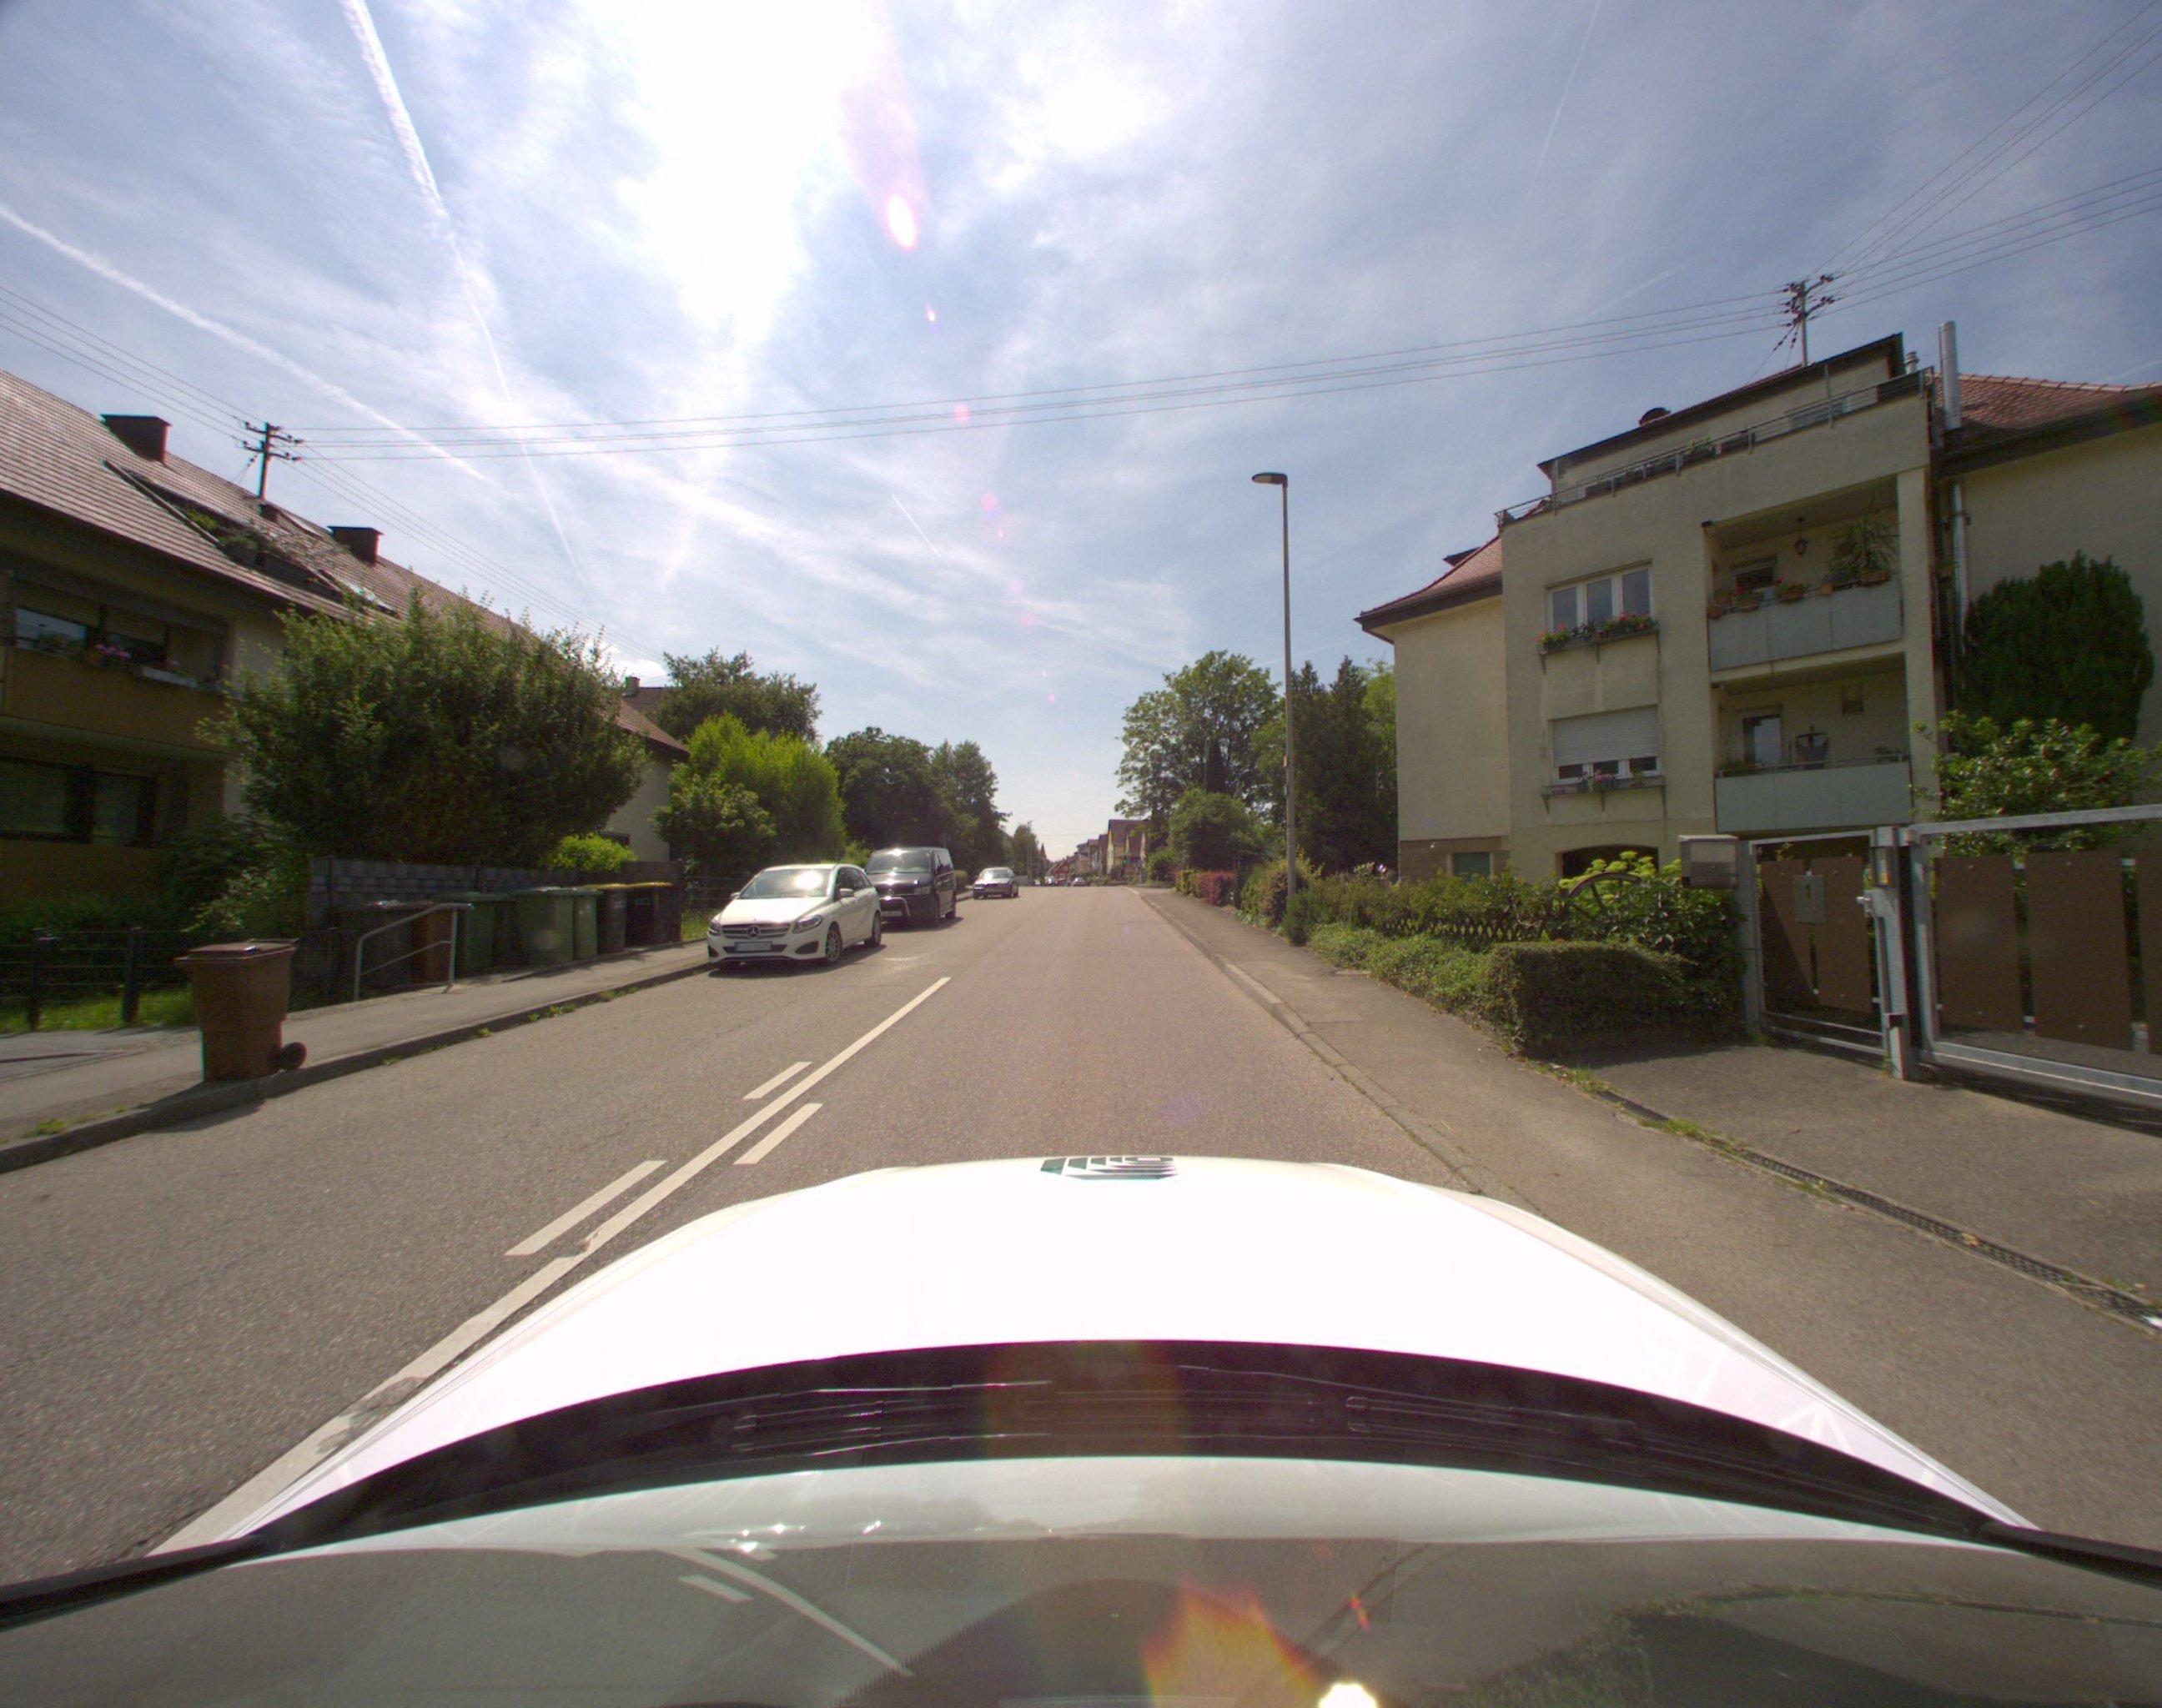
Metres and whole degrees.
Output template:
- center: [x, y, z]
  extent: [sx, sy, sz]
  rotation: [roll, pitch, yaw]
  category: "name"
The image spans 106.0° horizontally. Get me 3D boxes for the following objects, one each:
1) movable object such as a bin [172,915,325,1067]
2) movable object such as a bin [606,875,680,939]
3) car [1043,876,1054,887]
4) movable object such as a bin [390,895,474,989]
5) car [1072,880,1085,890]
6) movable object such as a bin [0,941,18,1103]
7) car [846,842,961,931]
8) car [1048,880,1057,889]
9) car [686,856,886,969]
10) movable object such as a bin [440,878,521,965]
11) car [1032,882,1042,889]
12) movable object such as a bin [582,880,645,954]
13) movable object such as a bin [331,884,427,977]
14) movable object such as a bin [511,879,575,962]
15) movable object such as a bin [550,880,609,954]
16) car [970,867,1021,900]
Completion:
- center: [-5.890, 0.949, 5.787]
  extent: [0.503, 0.988, 0.564]
  rotation: [-1, -1, 8]
  category: "movable object such as a bin"
- center: [-7.590, 0.906, 14.134]
  extent: [0.896, 1.070, 0.695]
  rotation: [-1, -1, 1]
  category: "movable object such as a bin"
- center: [-6.162, 5.221, 155.285]
  extent: [1.876, 1.965, 4.892]
  rotation: [-1, -2, -6]
  category: "car"
- center: [-8.586, 1.149, 10.788]
  extent: [0.544, 1.178, 0.675]
  rotation: [-1, -1, 6]
  category: "movable object such as a bin"
- center: [-0.421, 5.104, 134.354]
  extent: [1.987, 1.604, 3.999]
  rotation: [-1, -1, 0]
  category: "car"
- center: [-6.498, 0.965, 4.447]
  extent: [0.560, 0.918, 0.644]
  rotation: [-1, -1, 8]
  category: "movable object such as a bin"
- center: [-4.353, 0.758, 20.778]
  extent: [1.891, 1.920, 4.868]
  rotation: [-2, -1, -1]
  category: "car"
- center: [-5.077, 5.326, 144.176]
  extent: [1.531, 1.542, 4.298]
  rotation: [0, -2, -3]
  category: "car"
- center: [-4.637, 0.840, 13.533]
  extent: [1.805, 1.549, 4.241]
  rotation: [-1, -1, -1]
  category: "car"
- center: [-8.516, 0.941, 11.579]
  extent: [0.474, 1.178, 0.841]
  rotation: [-1, -1, 7]
  category: "movable object such as a bin"
- center: [-10.114, 7.212, 185.768]
  extent: [2.104, 1.561, 4.311]
  rotation: [-1, -3, -1]
  category: "car"
- center: [-7.302, 0.967, 12.729]
  extent: [0.494, 1.105, 0.711]
  rotation: [-3, -2, 8]
  category: "movable object such as a bin"
- center: [-8.662, 0.932, 10.067]
  extent: [0.599, 1.096, 0.651]
  rotation: [-1, -1, 8]
  category: "movable object such as a bin"
- center: [-7.475, 0.916, 11.325]
  extent: [0.515, 1.104, 0.529]
  rotation: [-3, -2, 0]
  category: "movable object such as a bin"
- center: [-7.358, 0.915, 11.957]
  extent: [0.453, 1.044, 0.561]
  rotation: [-3, -2, 8]
  category: "movable object such as a bin"
- center: [-3.894, 1.363, 37.775]
  extent: [1.773, 1.394, 4.410]
  rotation: [-2, -2, 1]
  category: "car"
